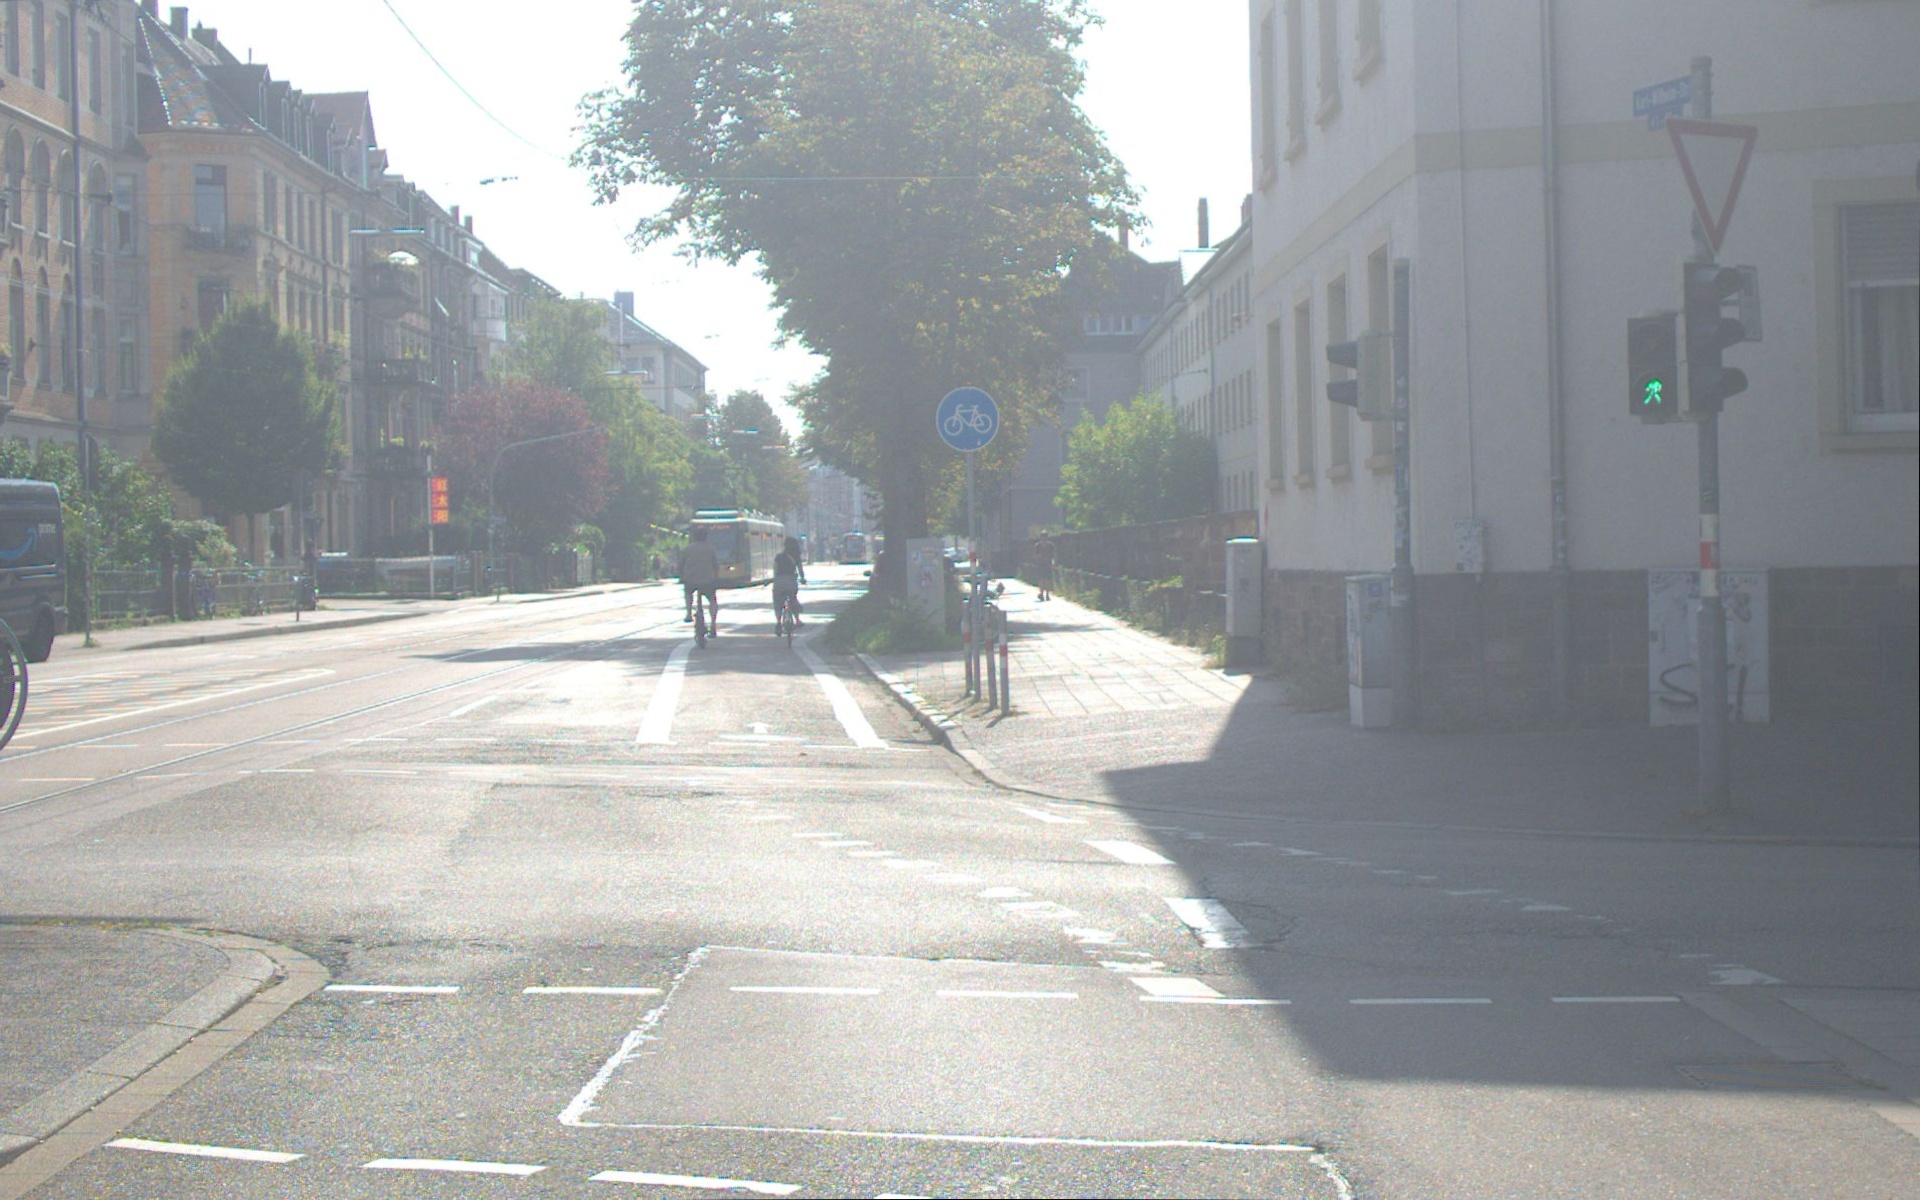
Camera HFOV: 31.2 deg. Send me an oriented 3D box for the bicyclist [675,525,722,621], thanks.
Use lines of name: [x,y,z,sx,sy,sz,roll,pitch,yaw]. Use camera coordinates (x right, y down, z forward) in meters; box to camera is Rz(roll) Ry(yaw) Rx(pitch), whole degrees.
bicyclist: [-3.871,-0.398,50.950,0.626,1.396,0.929,1,0,-1]

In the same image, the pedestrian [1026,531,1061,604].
pedestrian: [2.021,-0.777,82.842,0.752,1.743,0.878,-1,1,6]

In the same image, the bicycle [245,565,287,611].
bicycle: [-16.754,-0.300,83.020,0.545,1.054,1.839,3,1,1]

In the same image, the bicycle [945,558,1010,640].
bicycle: [0.239,-0.033,48.352,0.771,1.100,2.334,-1,1,-3]

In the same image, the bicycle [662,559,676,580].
bicycle: [-17.458,-1.821,206.403,0.561,1.217,2.113,-1,1,2]

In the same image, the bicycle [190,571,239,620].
bicycle: [-16.703,-0.111,77.087,0.606,1.054,1.839,3,1,1]

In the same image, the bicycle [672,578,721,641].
bicycle: [-3.895,0.136,50.945,0.626,0.906,1.525,1,1,-1]

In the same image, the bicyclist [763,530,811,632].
bicyclist: [-2.537,-0.282,50.511,0.654,1.469,0.909,1,0,-1]

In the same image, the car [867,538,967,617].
car: [-0.868,-0.478,72.087,1.645,1.535,3.841,-3,1,5]

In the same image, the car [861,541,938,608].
car: [-1.378,-0.594,79.922,1.645,1.443,4.246,-3,1,0]

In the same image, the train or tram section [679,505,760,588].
train or tram section: [-10.597,-2.364,152.596,2.734,3.493,15.434,0,1,-1]

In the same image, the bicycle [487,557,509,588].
bicycle: [-16.817,-0.992,125.153,0.508,1.104,2.003,-1,1,0]

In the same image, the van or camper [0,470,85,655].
van or camper: [-14.661,-0.507,49.173,2.051,2.635,6.088,-1,0,7]

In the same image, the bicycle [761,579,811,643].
bicycle: [-2.552,0.156,50.530,0.654,0.906,1.775,1,1,-1]

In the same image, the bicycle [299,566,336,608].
bicycle: [-16.817,-0.356,90.046,0.545,1.054,1.839,3,1,1]
